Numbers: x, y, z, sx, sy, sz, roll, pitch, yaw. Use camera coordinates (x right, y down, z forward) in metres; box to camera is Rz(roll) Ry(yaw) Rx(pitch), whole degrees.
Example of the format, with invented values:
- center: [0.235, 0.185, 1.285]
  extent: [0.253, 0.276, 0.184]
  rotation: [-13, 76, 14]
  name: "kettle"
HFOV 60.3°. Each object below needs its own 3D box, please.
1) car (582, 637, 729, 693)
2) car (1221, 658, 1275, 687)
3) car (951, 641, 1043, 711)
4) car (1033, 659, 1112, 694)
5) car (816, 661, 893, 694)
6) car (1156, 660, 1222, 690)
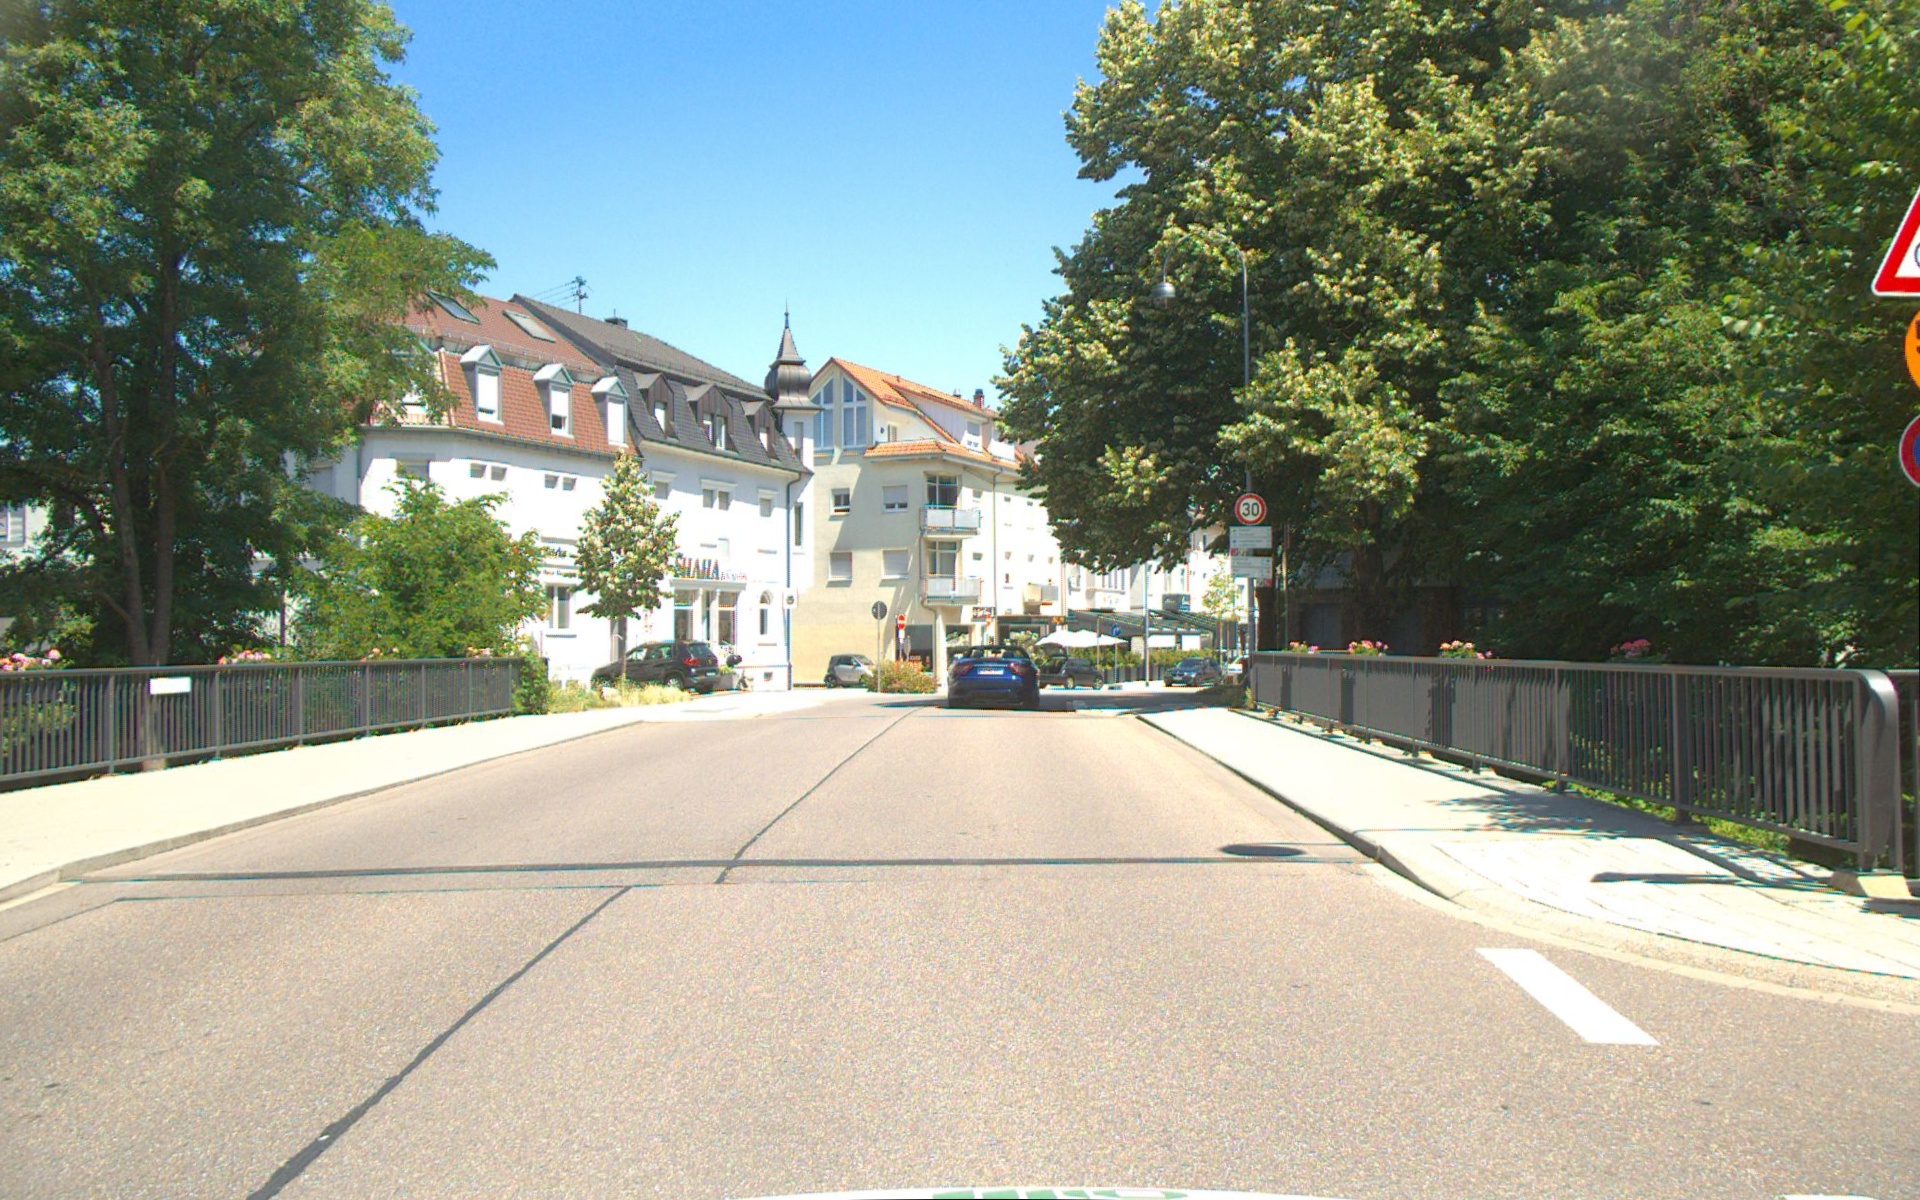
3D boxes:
- center: [-9.428, 2.029, 51.269]
  extent: [4.095, 1.691, 1.970]
  rotation: [-1, -3, 22]
  name: "car"
- center: [15.847, 3.983, 90.954]
  extent: [1.615, 1.505, 3.931]
  rotation: [0, -1, 31]
  name: "car"
- center: [0.777, 1.597, 35.528]
  extent: [1.832, 1.366, 4.595]
  rotation: [1, -2, 1]
  name: "car"
- center: [5.169, 3.504, 75.689]
  extent: [1.684, 1.486, 4.113]
  rotation: [1, -2, 36]
  name: "car"
- center: [-4.917, 3.613, 77.143]
  extent: [3.196, 1.484, 1.691]
  rotation: [-2, -2, 22]
  name: "car"
- center: [11.741, 3.797, 84.466]
  extent: [1.799, 1.455, 4.774]
  rotation: [0, -2, 29]
  name: "car"
